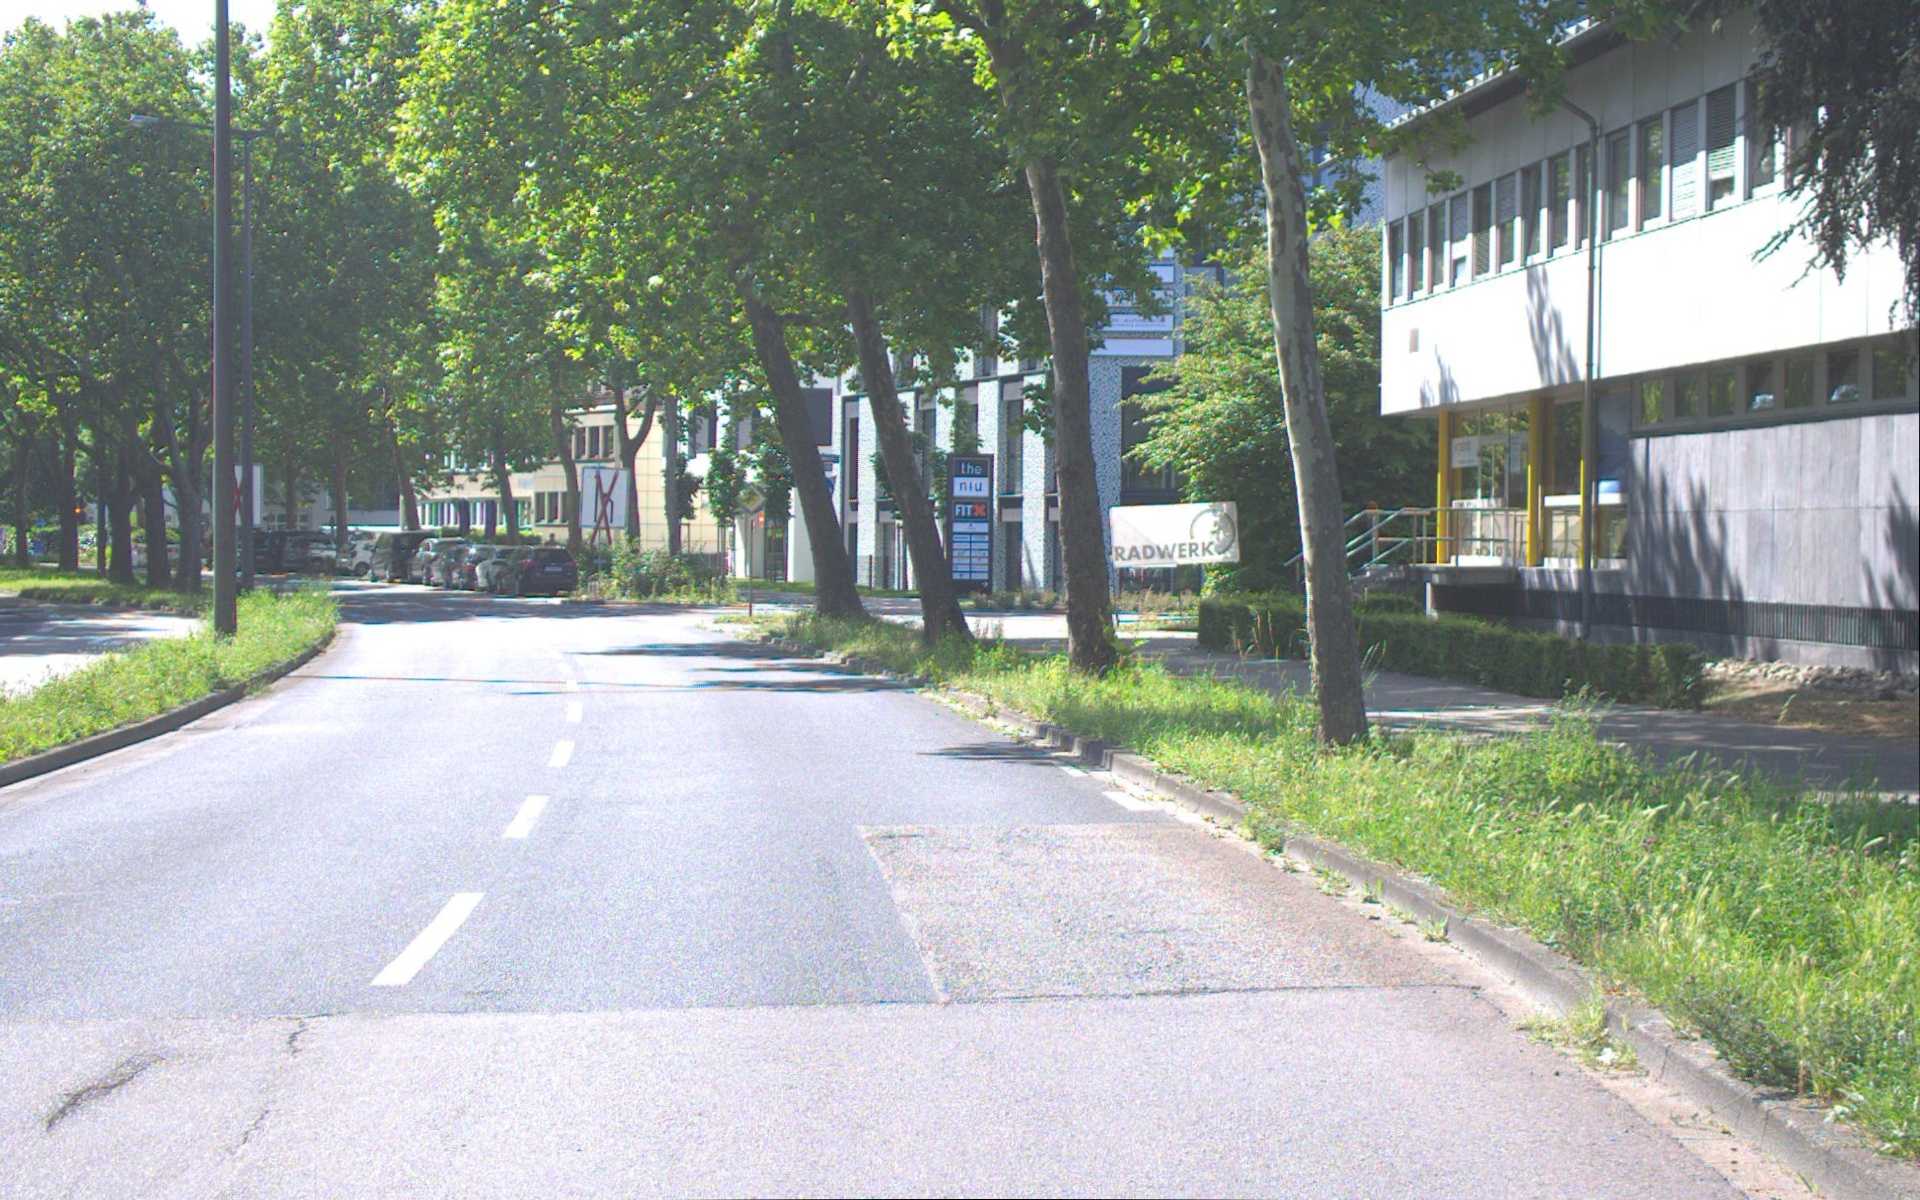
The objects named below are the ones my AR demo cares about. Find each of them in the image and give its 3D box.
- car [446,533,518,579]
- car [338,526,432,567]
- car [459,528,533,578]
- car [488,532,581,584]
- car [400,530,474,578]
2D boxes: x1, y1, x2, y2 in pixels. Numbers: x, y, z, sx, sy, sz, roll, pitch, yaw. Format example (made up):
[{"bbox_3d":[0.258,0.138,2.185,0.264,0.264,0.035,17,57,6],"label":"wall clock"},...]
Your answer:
[{"bbox_3d":[-15.500,-1.436,111.312,1.706,1.450,4.657,0,1,-16],"label":"car"},{"bbox_3d":[-23.816,-2.210,142.400,3.551,1.634,1.659,0,1,-23],"label":"car"},{"bbox_3d":[-14.324,-1.456,106.054,1.706,1.482,4.102,0,1,-16],"label":"car"},{"bbox_3d":[-12.493,-1.248,100.790,1.706,1.482,4.720,-1,1,-20],"label":"car"},{"bbox_3d":[-18.712,-1.654,122.823,1.706,1.664,4.535,0,1,-21],"label":"car"}]
